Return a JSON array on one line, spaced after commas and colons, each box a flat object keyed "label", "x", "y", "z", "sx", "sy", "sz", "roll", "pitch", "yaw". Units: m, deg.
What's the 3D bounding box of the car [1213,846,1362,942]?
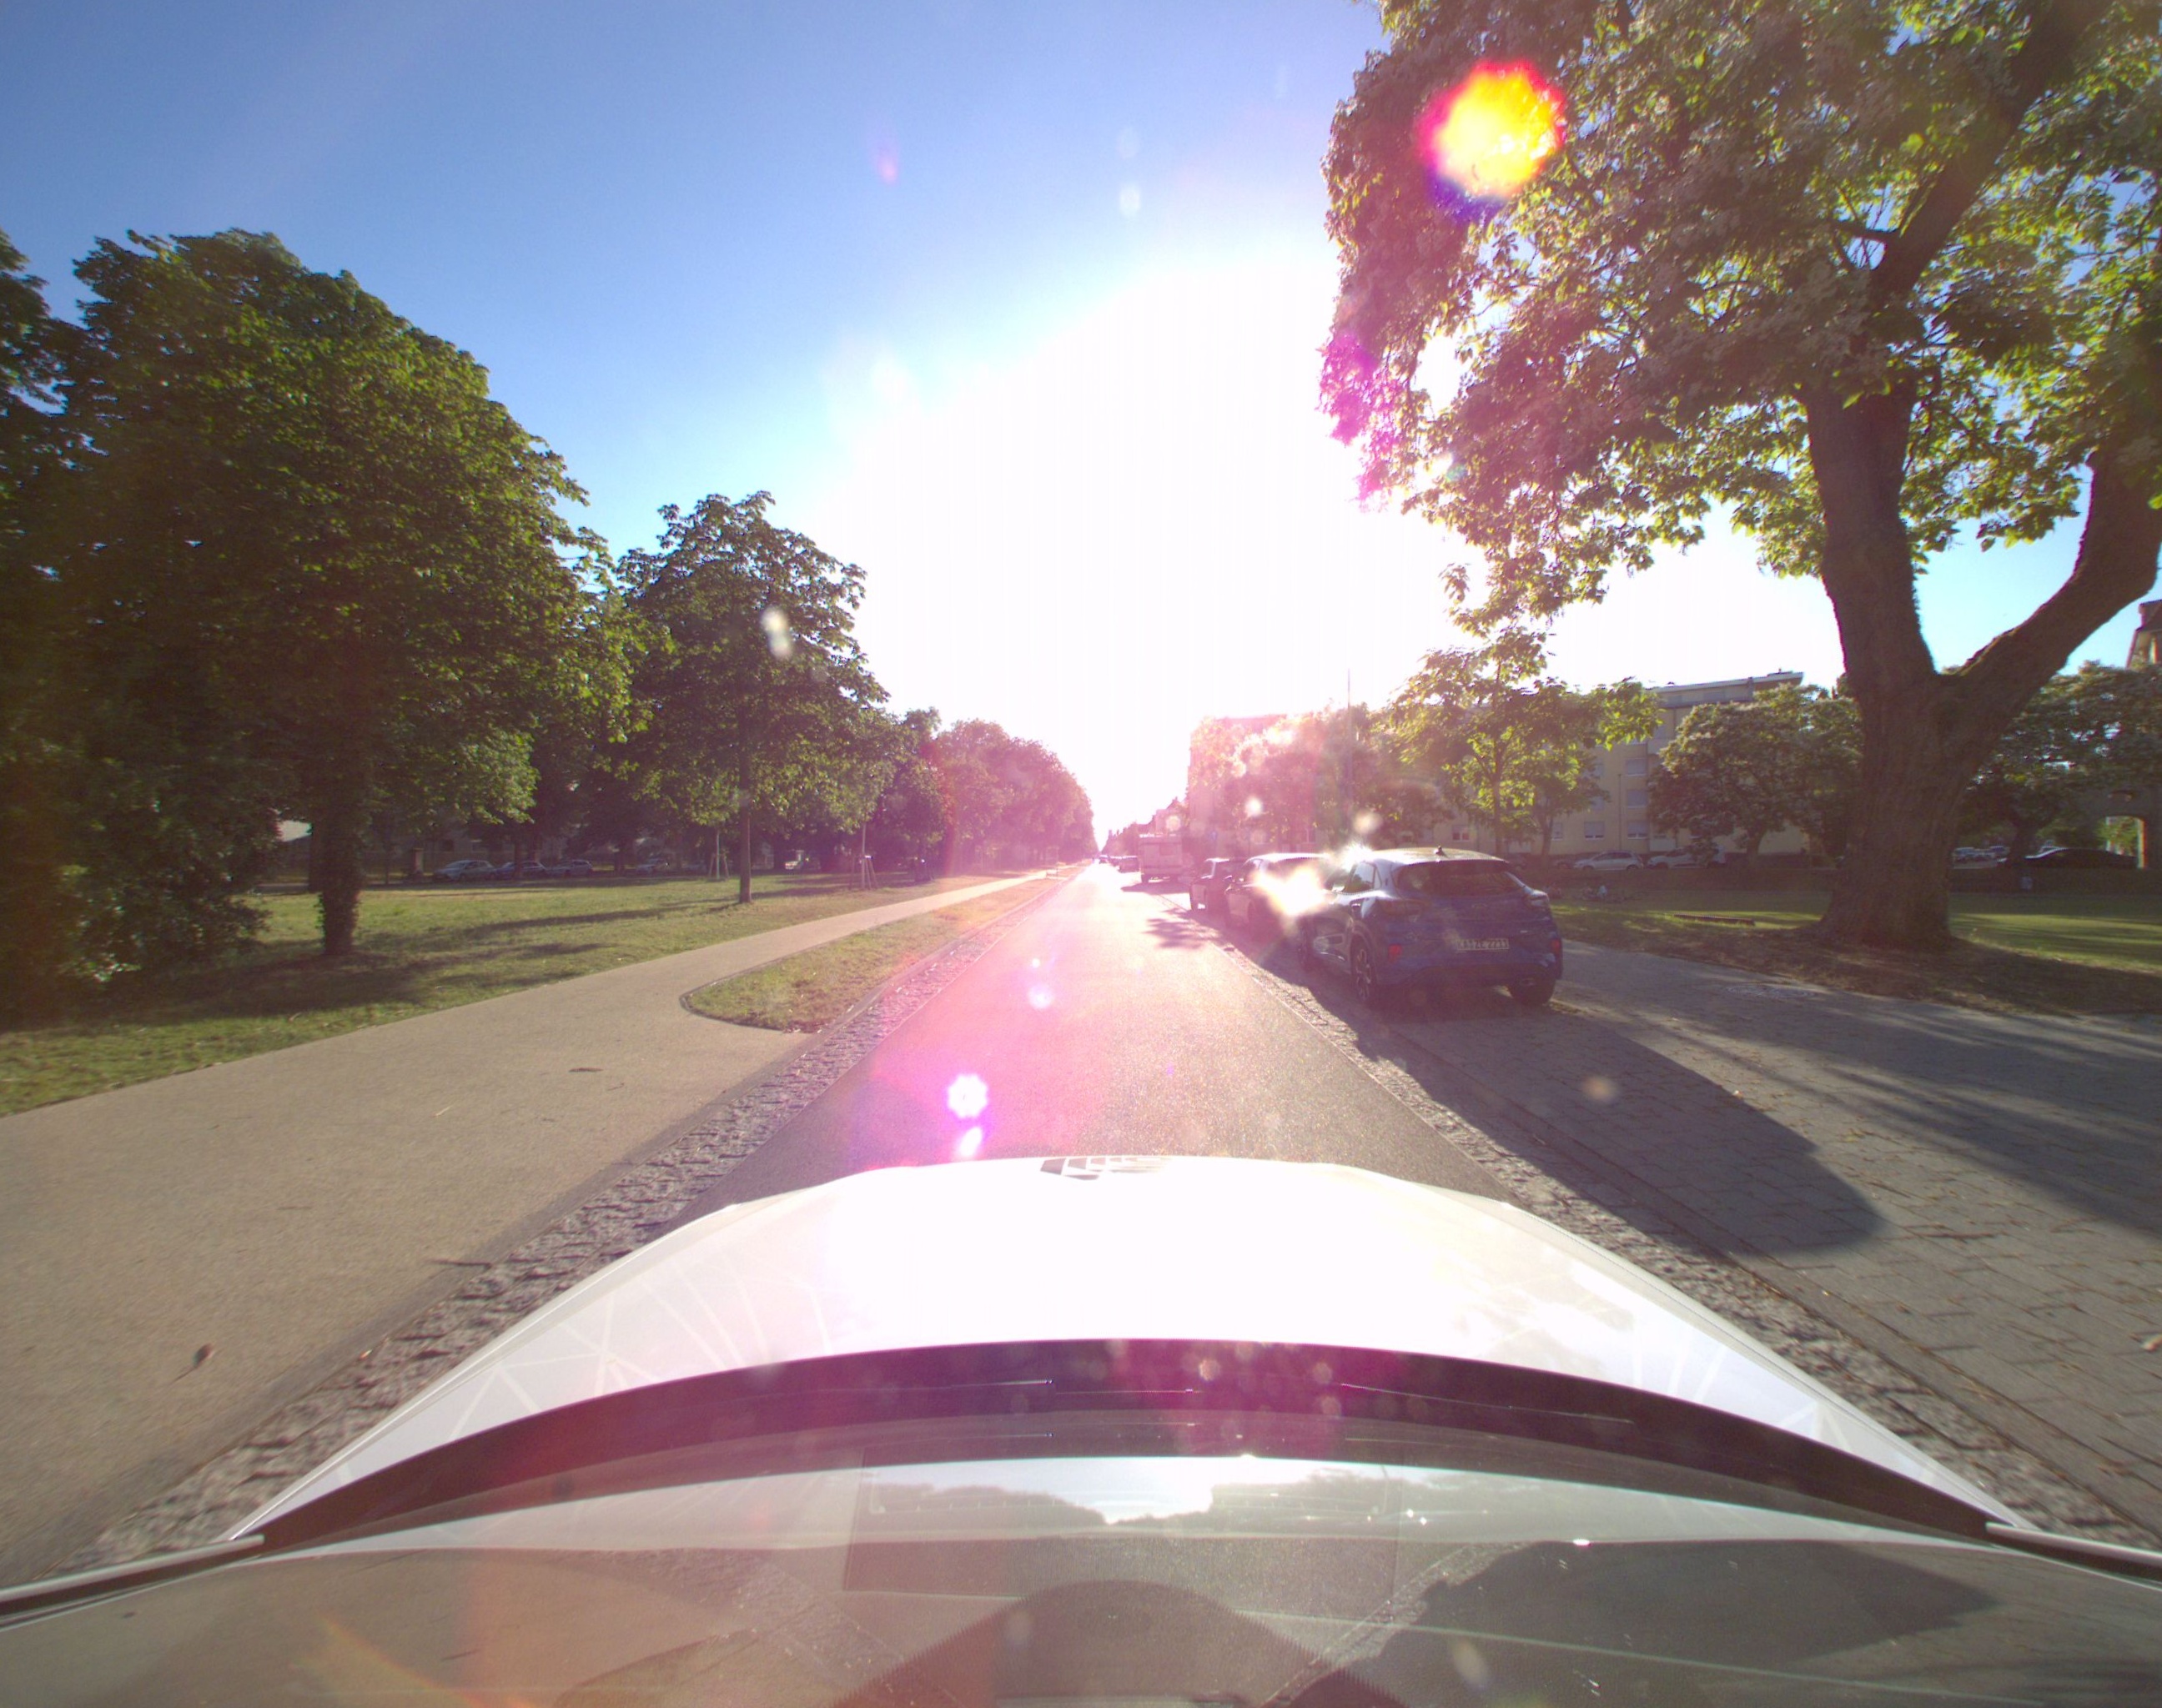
[{"label": "car", "x": 3.760, "y": 0.675, "z": 15.617, "sx": 1.726, "sy": 1.551, "sz": 4.422, "roll": -1, "pitch": -1, "yaw": 0}]

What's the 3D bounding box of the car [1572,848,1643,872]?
[{"label": "car", "x": 35.952, "y": 0.422, "z": 55.719, "sx": 3.949, "sy": 1.552, "sz": 1.620, "roll": -1, "pitch": -1, "yaw": 29}]

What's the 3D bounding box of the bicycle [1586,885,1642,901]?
[{"label": "bicycle", "x": 22.536, "y": 1.639, "z": 34.497, "sx": 1.749, "sy": 0.615, "sz": 1.822, "roll": -1, "pitch": 0, "yaw": 25}]

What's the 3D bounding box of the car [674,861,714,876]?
[{"label": "car", "x": -39.783, "y": 1.464, "z": 83.787, "sx": 1.986, "sy": 1.508, "sz": 4.117, "roll": -1, "pitch": -1, "yaw": 2}]

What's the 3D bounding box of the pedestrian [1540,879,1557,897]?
[{"label": "pedestrian", "x": 21.921, "y": 1.604, "z": 38.180, "sx": 0.470, "sy": 0.812, "sz": 0.612, "roll": 0, "pitch": 0, "yaw": 3}]

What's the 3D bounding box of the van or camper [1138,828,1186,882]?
[{"label": "van or camper", "x": 4.583, "y": 0.131, "z": 46.941, "sx": 2.226, "sy": 2.904, "sz": 5.673, "roll": -1, "pitch": -2, "yaw": 1}]

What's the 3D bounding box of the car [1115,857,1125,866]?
[{"label": "car", "x": 6.790, "y": 1.297, "z": 141.538, "sx": 1.620, "sy": 1.410, "sz": 4.250, "roll": -1, "pitch": -1, "yaw": 1}]

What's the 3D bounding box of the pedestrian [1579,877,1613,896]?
[{"label": "pedestrian", "x": 23.620, "y": 1.503, "z": 37.352, "sx": 0.577, "sy": 0.812, "sz": 1.244, "roll": 1, "pitch": 0, "yaw": -43}]

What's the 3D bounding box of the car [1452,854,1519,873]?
[{"label": "car", "x": 29.264, "y": 0.689, "z": 59.059, "sx": 4.158, "sy": 1.357, "sz": 1.702, "roll": -1, "pitch": -1, "yaw": 22}]

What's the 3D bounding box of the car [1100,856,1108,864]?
[{"label": "car", "x": 4.986, "y": 1.381, "z": 177.967, "sx": 1.819, "sy": 1.669, "sz": 4.250, "roll": -1, "pitch": -1, "yaw": 1}]

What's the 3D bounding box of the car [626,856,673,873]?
[{"label": "car", "x": -40.004, "y": 0.990, "z": 75.564, "sx": 1.986, "sy": 1.508, "sz": 4.117, "roll": -1, "pitch": -1, "yaw": 2}]

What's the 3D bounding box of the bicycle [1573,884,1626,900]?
[{"label": "bicycle", "x": 22.860, "y": 1.648, "z": 35.977, "sx": 1.749, "sy": 0.615, "sz": 1.822, "roll": -1, "pitch": 0, "yaw": 25}]

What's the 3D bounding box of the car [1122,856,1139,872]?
[{"label": "car", "x": 5.376, "y": 1.073, "z": 88.211, "sx": 1.620, "sy": 1.669, "sz": 4.250, "roll": -1, "pitch": -1, "yaw": 1}]

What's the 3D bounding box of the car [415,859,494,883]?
[{"label": "car", "x": -40.832, "y": 1.095, "z": 53.188, "sx": 1.986, "sy": 1.508, "sz": 4.002, "roll": -1, "pitch": -1, "yaw": 2}]

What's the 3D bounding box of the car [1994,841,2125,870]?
[{"label": "car", "x": 51.757, "y": 0.107, "z": 43.160, "sx": 1.889, "sy": 1.453, "sz": 4.319, "roll": 0, "pitch": -1, "yaw": -37}]

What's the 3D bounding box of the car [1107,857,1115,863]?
[{"label": "car", "x": 6.937, "y": 1.398, "z": 189.361, "sx": 1.620, "sy": 1.410, "sz": 4.250, "roll": -1, "pitch": -1, "yaw": 1}]

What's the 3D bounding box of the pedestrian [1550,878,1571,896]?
[{"label": "pedestrian", "x": 23.010, "y": 1.573, "z": 39.093, "sx": 0.608, "sy": 0.812, "sz": 0.724, "roll": 0, "pitch": 0, "yaw": 3}]

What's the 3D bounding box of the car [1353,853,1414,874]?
[{"label": "car", "x": 22.637, "y": 0.725, "z": 61.063, "sx": 4.162, "sy": 1.463, "sz": 1.700, "roll": -1, "pitch": -1, "yaw": 16}]

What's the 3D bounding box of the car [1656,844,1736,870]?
[{"label": "car", "x": 43.775, "y": 0.222, "z": 58.114, "sx": 4.467, "sy": 1.746, "sz": 1.892, "roll": -1, "pitch": -1, "yaw": 36}]

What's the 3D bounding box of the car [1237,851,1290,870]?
[{"label": "car", "x": 15.348, "y": 0.550, "z": 68.635, "sx": 4.174, "sy": 1.530, "sz": 2.003, "roll": -1, "pitch": -1, "yaw": 5}]

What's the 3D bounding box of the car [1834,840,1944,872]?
[{"label": "car", "x": 47.086, "y": 0.130, "z": 47.554, "sx": 4.469, "sy": 1.746, "sz": 1.891, "roll": -2, "pitch": -1, "yaw": 45}]

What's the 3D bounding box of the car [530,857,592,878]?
[{"label": "car", "x": -40.305, "y": 1.022, "z": 63.232, "sx": 1.986, "sy": 1.508, "sz": 4.117, "roll": -1, "pitch": -1, "yaw": 2}]

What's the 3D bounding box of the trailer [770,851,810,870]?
[{"label": "trailer", "x": -38.875, "y": 0.899, "z": 109.000, "sx": 2.450, "sy": 2.489, "sz": 7.053, "roll": -1, "pitch": -1, "yaw": 2}]

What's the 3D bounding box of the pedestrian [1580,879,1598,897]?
[{"label": "pedestrian", "x": 23.903, "y": 1.580, "z": 38.305, "sx": 0.470, "sy": 0.812, "sz": 0.612, "roll": 0, "pitch": 0, "yaw": 3}]

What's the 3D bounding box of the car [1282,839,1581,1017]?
[{"label": "car", "x": 3.632, "y": 0.678, "z": 9.364, "sx": 1.725, "sy": 1.551, "sz": 4.278, "roll": -1, "pitch": -1, "yaw": 2}]

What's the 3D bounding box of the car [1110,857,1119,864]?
[{"label": "car", "x": 6.350, "y": 1.248, "z": 153.295, "sx": 1.620, "sy": 1.410, "sz": 4.250, "roll": -1, "pitch": -1, "yaw": 1}]

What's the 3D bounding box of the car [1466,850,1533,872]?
[{"label": "car", "x": 32.952, "y": 0.562, "z": 64.258, "sx": 4.473, "sy": 1.569, "sz": 1.890, "roll": -1, "pitch": -1, "yaw": 20}]

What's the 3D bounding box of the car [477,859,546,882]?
[{"label": "car", "x": -40.625, "y": 1.154, "z": 58.212, "sx": 1.986, "sy": 1.508, "sz": 4.002, "roll": -1, "pitch": -1, "yaw": 2}]

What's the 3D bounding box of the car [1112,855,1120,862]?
[{"label": "car", "x": 7.397, "y": 1.054, "z": 172.632, "sx": 1.620, "sy": 1.410, "sz": 4.250, "roll": -1, "pitch": -1, "yaw": 1}]

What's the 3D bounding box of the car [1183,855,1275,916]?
[{"label": "car", "x": 3.915, "y": 0.794, "z": 22.199, "sx": 1.622, "sy": 1.464, "sz": 4.246, "roll": -1, "pitch": -1, "yaw": -2}]

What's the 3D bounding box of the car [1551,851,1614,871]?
[{"label": "car", "x": 37.848, "y": 0.557, "z": 61.523, "sx": 3.949, "sy": 1.453, "sz": 1.892, "roll": -1, "pitch": -1, "yaw": 29}]

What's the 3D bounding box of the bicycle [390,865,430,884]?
[{"label": "bicycle", "x": -42.456, "y": 1.268, "z": 51.558, "sx": 0.655, "sy": 1.175, "sz": 2.332, "roll": -1, "pitch": -1, "yaw": -1}]
